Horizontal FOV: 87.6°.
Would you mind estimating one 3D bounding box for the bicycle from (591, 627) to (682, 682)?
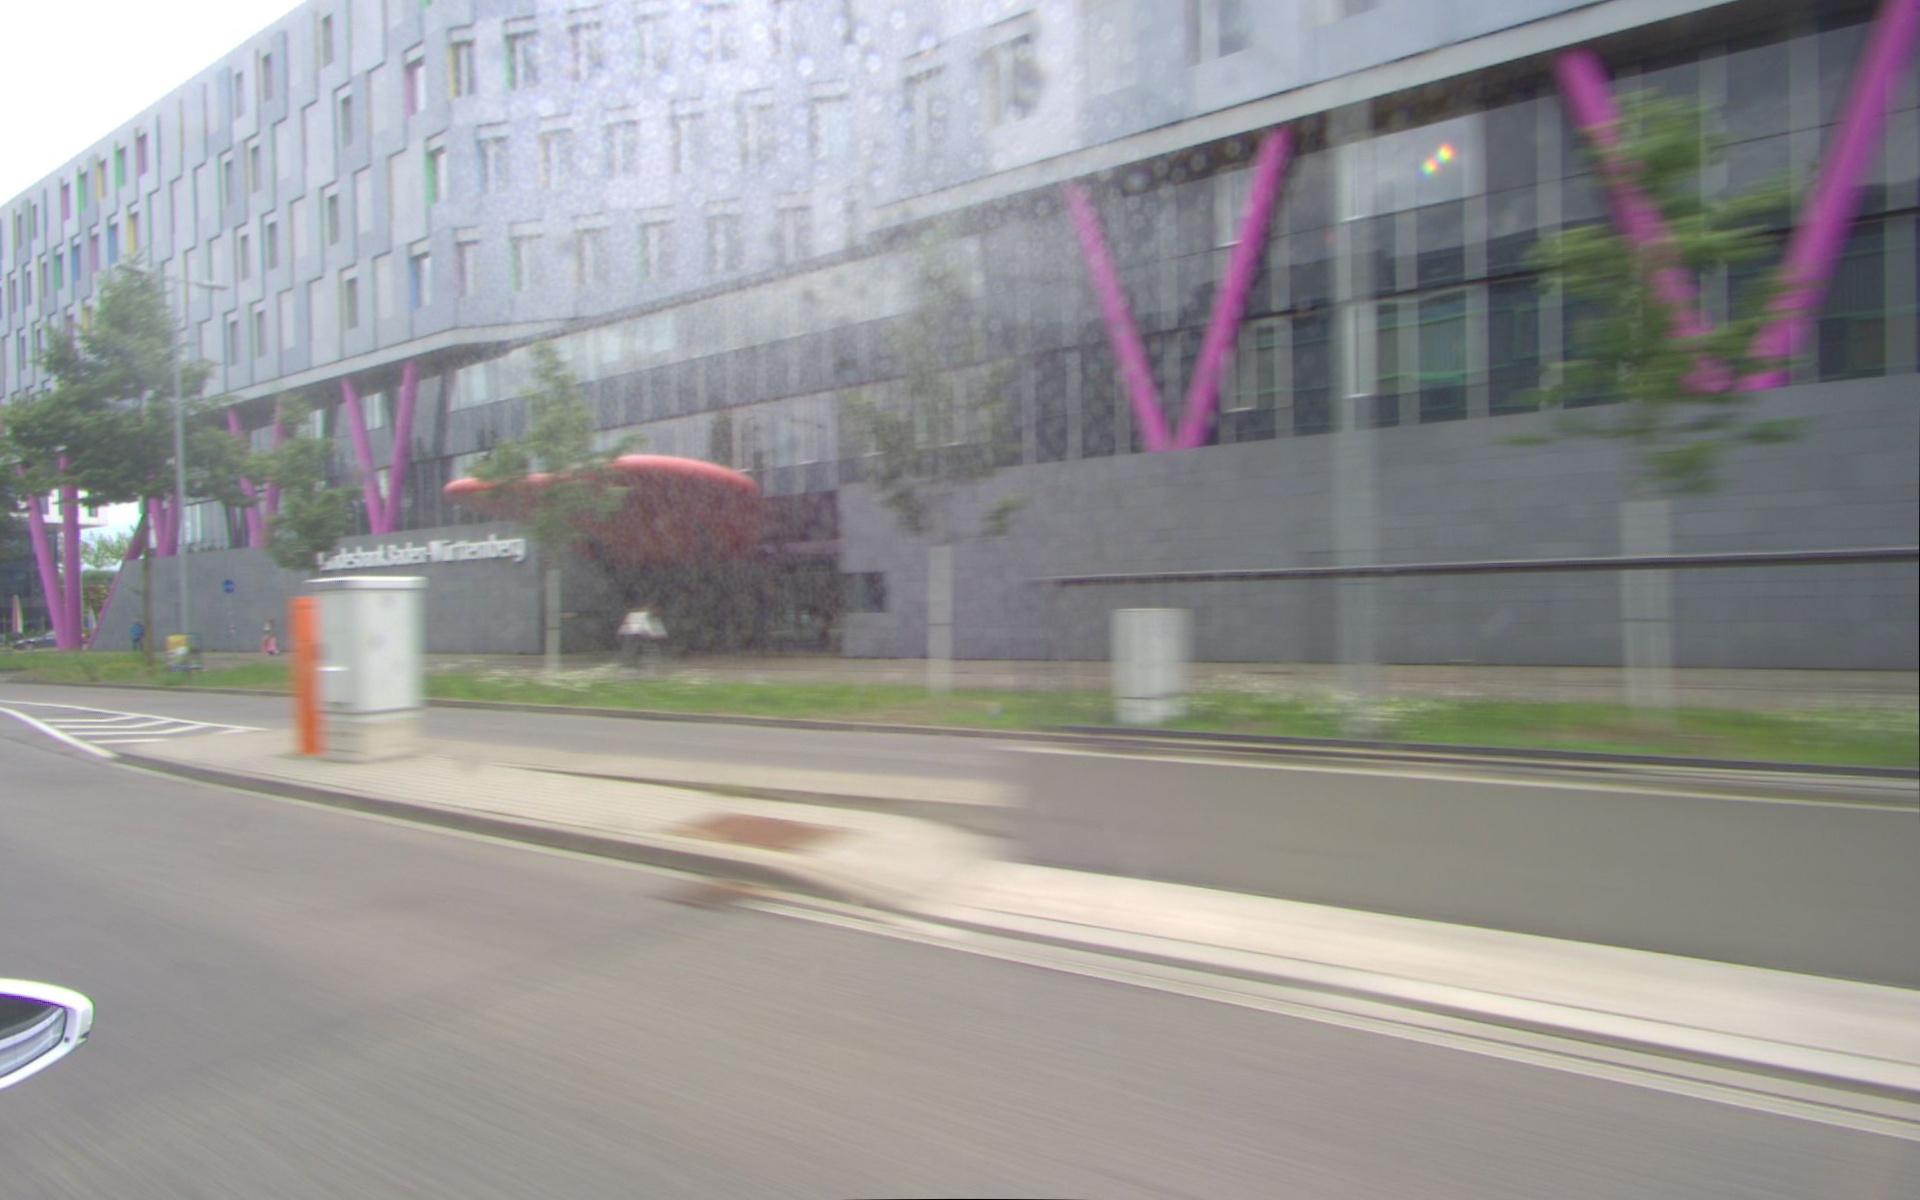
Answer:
[{"bbox_3d":[-7.617,1.253,23.533,2.187,1.210,0.782,-1,0,30],"label":"bicycle"}]

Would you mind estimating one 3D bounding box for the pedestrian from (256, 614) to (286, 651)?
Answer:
[{"bbox_3d":[-30.012,1.414,43.611,0.902,1.604,0.782,0,1,33],"label":"pedestrian"}]

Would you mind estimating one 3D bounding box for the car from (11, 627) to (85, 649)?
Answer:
[{"bbox_3d":[-75.509,3.114,82.931,1.734,1.636,4.240,-1,0,34],"label":"car"}]

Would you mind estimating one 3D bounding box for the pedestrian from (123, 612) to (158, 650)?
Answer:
[{"bbox_3d":[-40.315,1.514,49.256,1.121,1.794,1.049,0,1,33],"label":"pedestrian"}]

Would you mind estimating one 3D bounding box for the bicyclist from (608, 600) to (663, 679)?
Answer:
[{"bbox_3d":[-7.617,0.918,23.539,0.959,1.810,0.769,0,1,30],"label":"bicyclist"}]
